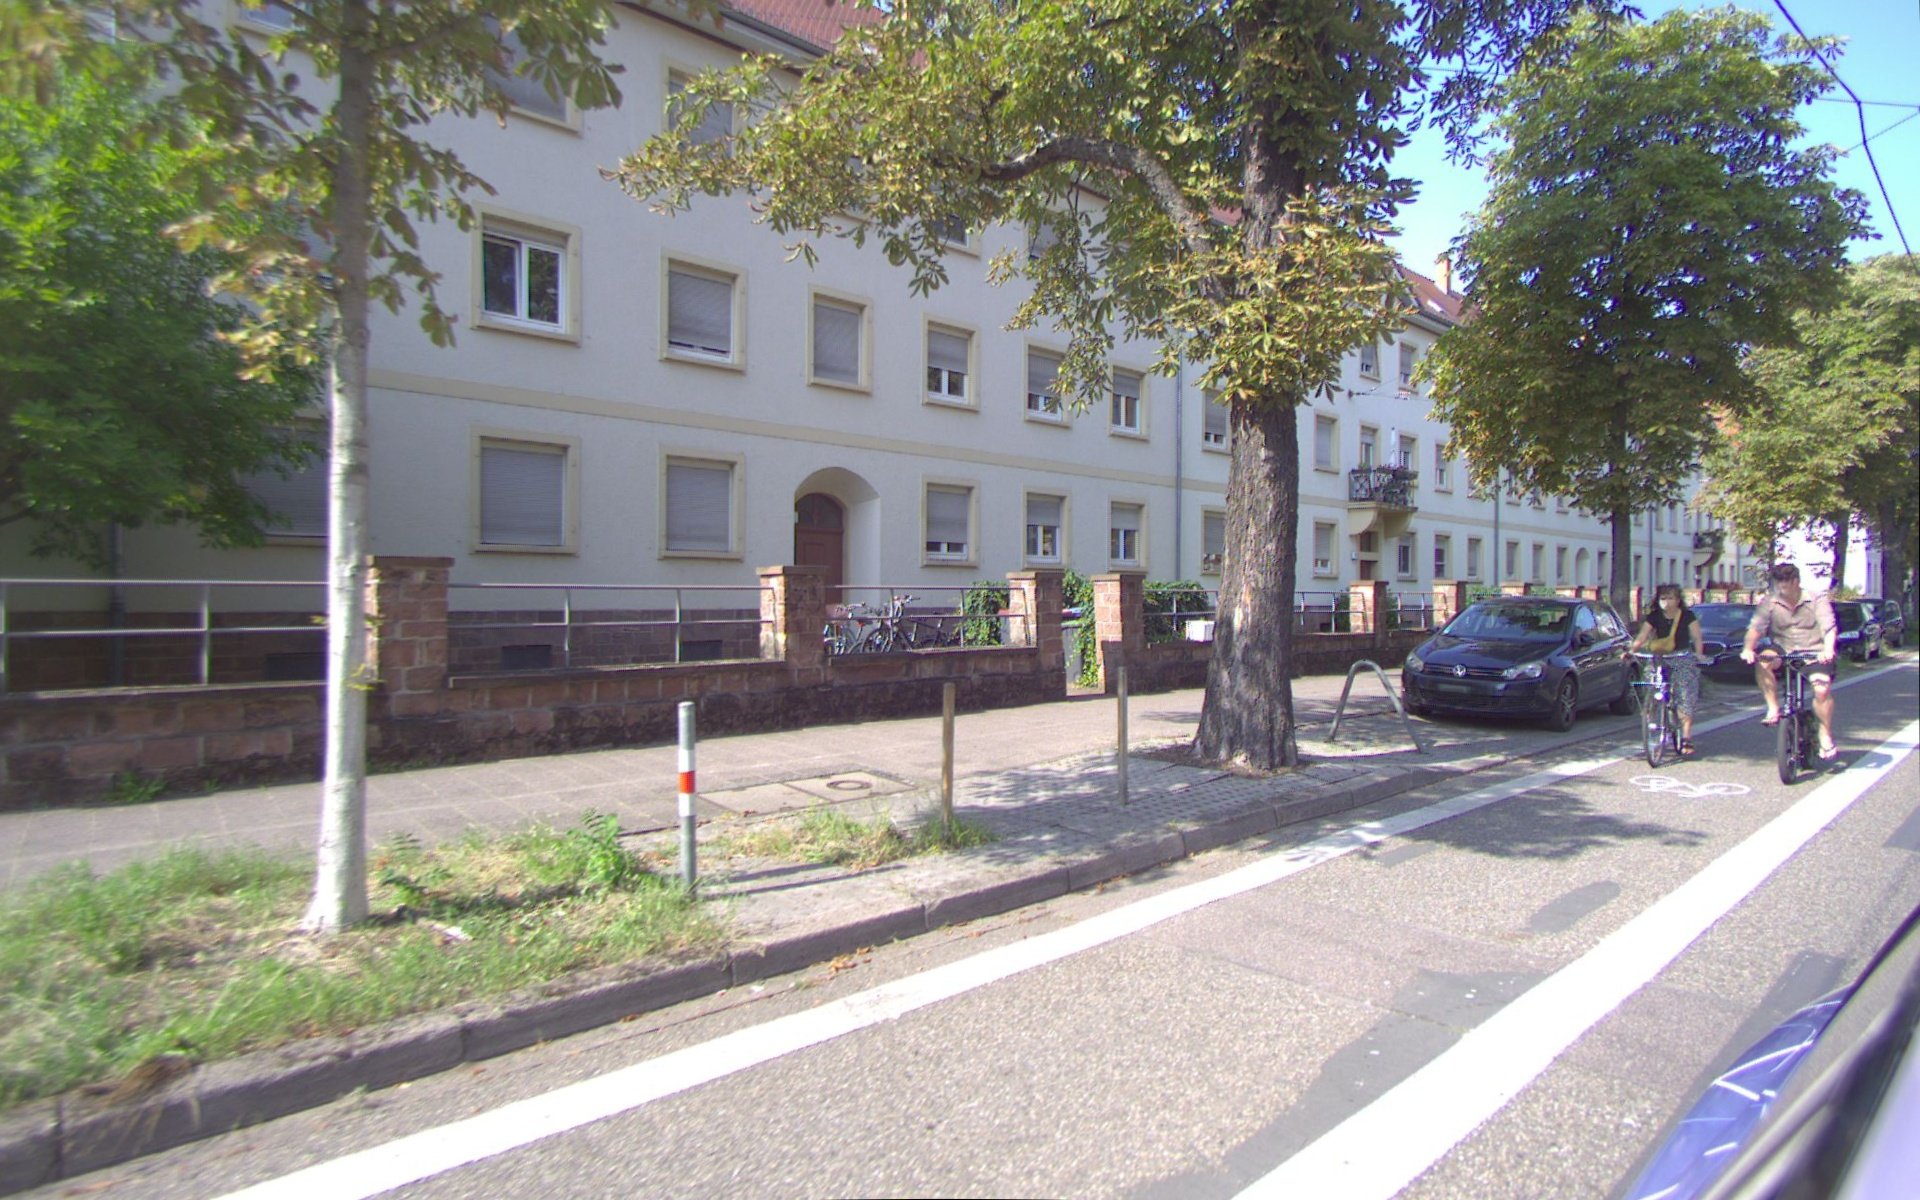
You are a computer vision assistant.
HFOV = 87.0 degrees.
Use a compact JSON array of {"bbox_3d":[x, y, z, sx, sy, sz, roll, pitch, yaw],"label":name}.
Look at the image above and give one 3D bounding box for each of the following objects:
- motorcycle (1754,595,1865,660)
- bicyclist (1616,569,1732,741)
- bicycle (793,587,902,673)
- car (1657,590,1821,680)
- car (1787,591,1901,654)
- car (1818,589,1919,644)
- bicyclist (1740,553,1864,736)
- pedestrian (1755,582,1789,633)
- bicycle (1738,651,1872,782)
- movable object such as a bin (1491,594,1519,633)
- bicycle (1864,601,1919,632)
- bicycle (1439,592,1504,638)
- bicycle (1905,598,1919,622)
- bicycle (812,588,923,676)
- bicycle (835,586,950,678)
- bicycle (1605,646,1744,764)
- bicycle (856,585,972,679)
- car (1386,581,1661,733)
[{"bbox_3d":[19.811,0.632,23.628,0.693,1.306,1.857,7,-1,-43],"label":"motorcycle"},{"bbox_3d":[6.582,0.481,9.323,0.893,1.493,0.655,0,-2,-42],"label":"bicyclist"},{"bbox_3d":[-1.467,0.370,13.394,1.462,1.073,0.416,0,1,-41],"label":"bicycle"},{"bbox_3d":[14.890,0.585,19.261,4.262,1.452,1.693,0,3,-42],"label":"car"},{"bbox_3d":[22.956,0.519,26.235,4.172,1.466,1.648,-1,2,-41],"label":"car"},{"bbox_3d":[28.492,0.474,31.640,3.770,1.559,1.651,0,2,-36],"label":"car"},{"bbox_3d":[6.991,0.347,8.397,0.913,1.419,0.627,0,-2,-42],"label":"bicyclist"},{"bbox_3d":[28.972,0.255,36.111,0.861,1.771,0.755,0,0,-35],"label":"pedestrian"},{"bbox_3d":[7.015,0.913,8.381,1.499,0.920,0.627,0,-1,-42],"label":"bicycle"},{"bbox_3d":[15.417,0.374,28.625,0.649,1.083,0.507,0,0,-40],"label":"movable object such as a bin"},{"bbox_3d":[33.145,0.578,35.861,1.696,1.087,0.525,0,0,1],"label":"bicycle"},{"bbox_3d":[13.176,0.364,26.043,2.294,1.118,0.772,0,0,-44],"label":"bicycle"},{"bbox_3d":[45.314,0.471,47.854,2.294,1.118,0.772,0,0,-44],"label":"bicycle"},{"bbox_3d":[-1.175,0.381,13.036,1.462,1.073,0.416,0,1,-41],"label":"bicycle"},{"bbox_3d":[-0.814,0.370,12.489,1.462,1.073,0.416,0,1,-41],"label":"bicycle"},{"bbox_3d":[6.584,0.915,9.295,1.744,0.920,0.655,0,-1,-42],"label":"bicycle"},{"bbox_3d":[-0.533,0.356,12.132,1.462,1.073,0.416,0,1,-41],"label":"bicycle"},{"bbox_3d":[6.995,0.554,12.403,4.025,1.520,1.692,-1,3,-42],"label":"car"}]
